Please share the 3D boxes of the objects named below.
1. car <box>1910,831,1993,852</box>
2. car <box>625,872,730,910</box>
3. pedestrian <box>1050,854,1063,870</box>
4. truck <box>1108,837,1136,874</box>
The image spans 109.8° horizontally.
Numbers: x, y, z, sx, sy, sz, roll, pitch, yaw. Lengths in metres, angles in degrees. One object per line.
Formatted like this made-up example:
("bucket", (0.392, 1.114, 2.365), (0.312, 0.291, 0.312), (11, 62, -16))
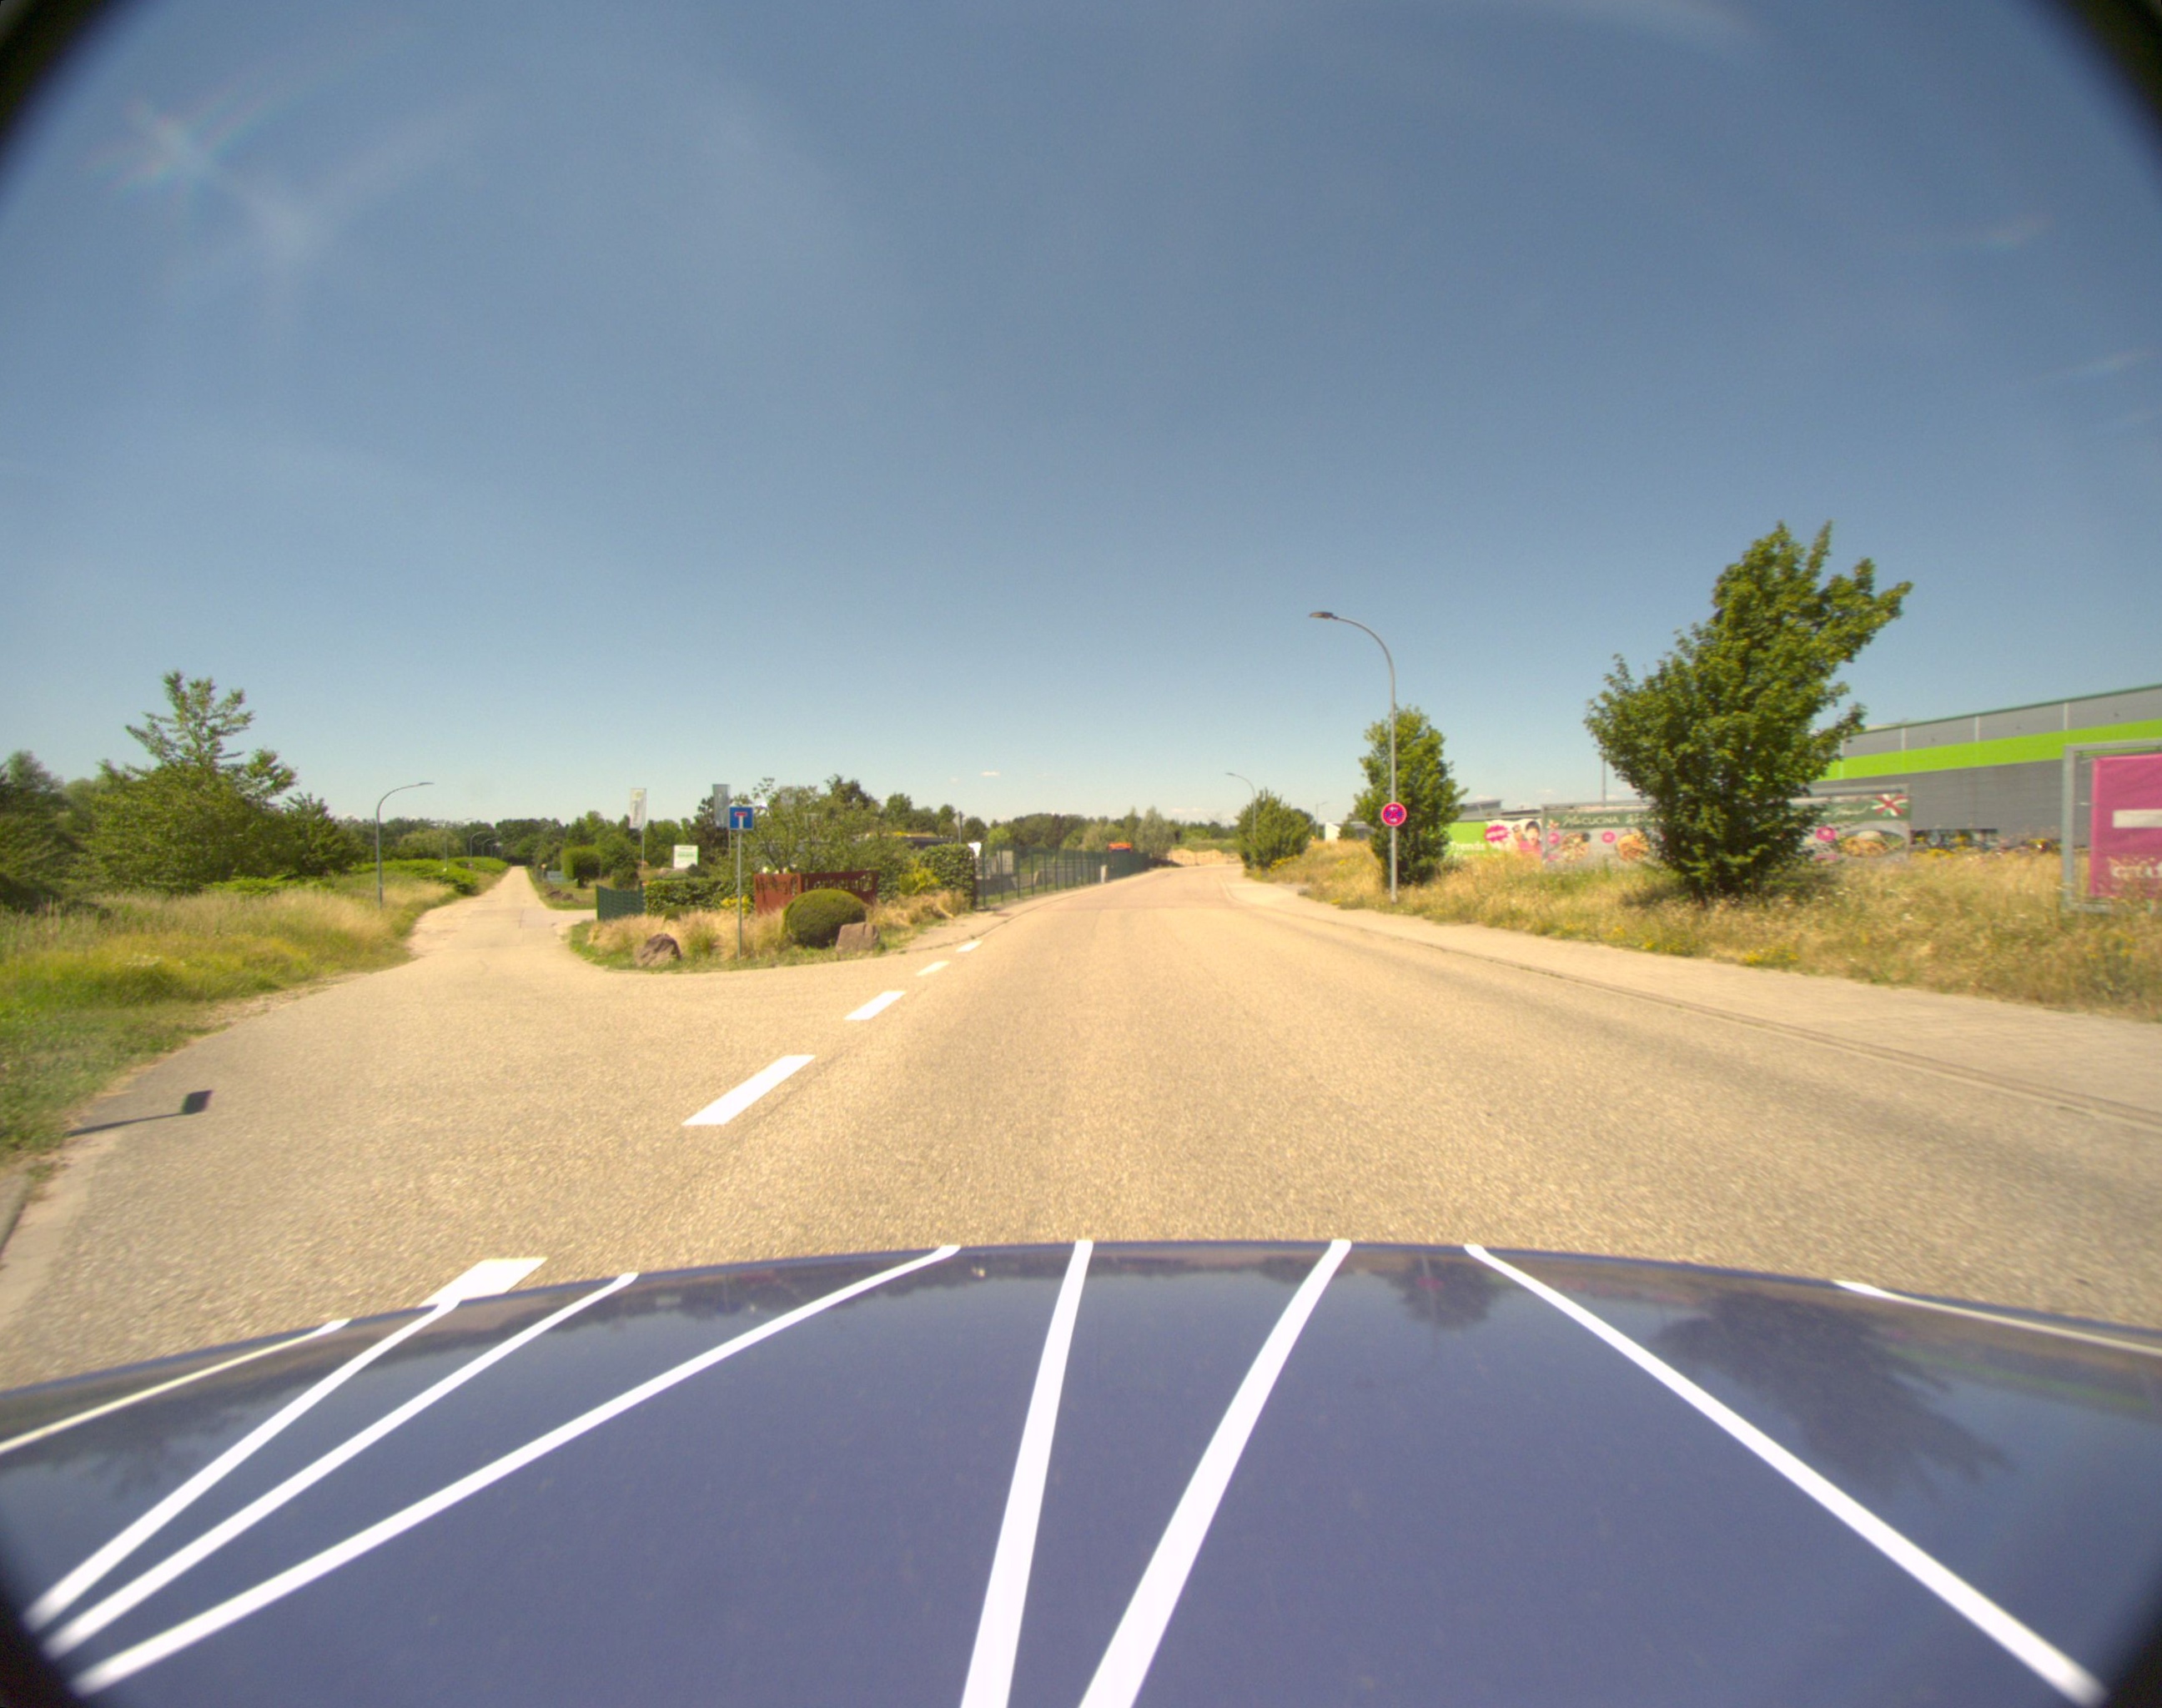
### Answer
("car", (68.703, -0.952, 60.018), (3.995, 1.513, 2.001), (-1, 0, 6))
("car", (-25.313, 2.296, 47.945), (1.995, 2.002, 5.585), (-3, 0, 29))
("pedestrian", (-3.155, 1.055, 97.403), (1.304, 2.002, 1.217), (-3, 0, 9))
("truck", (5.028, 0.203, 91.806), (2.846, 4.172, 8.136), (-3, 0, 6))
